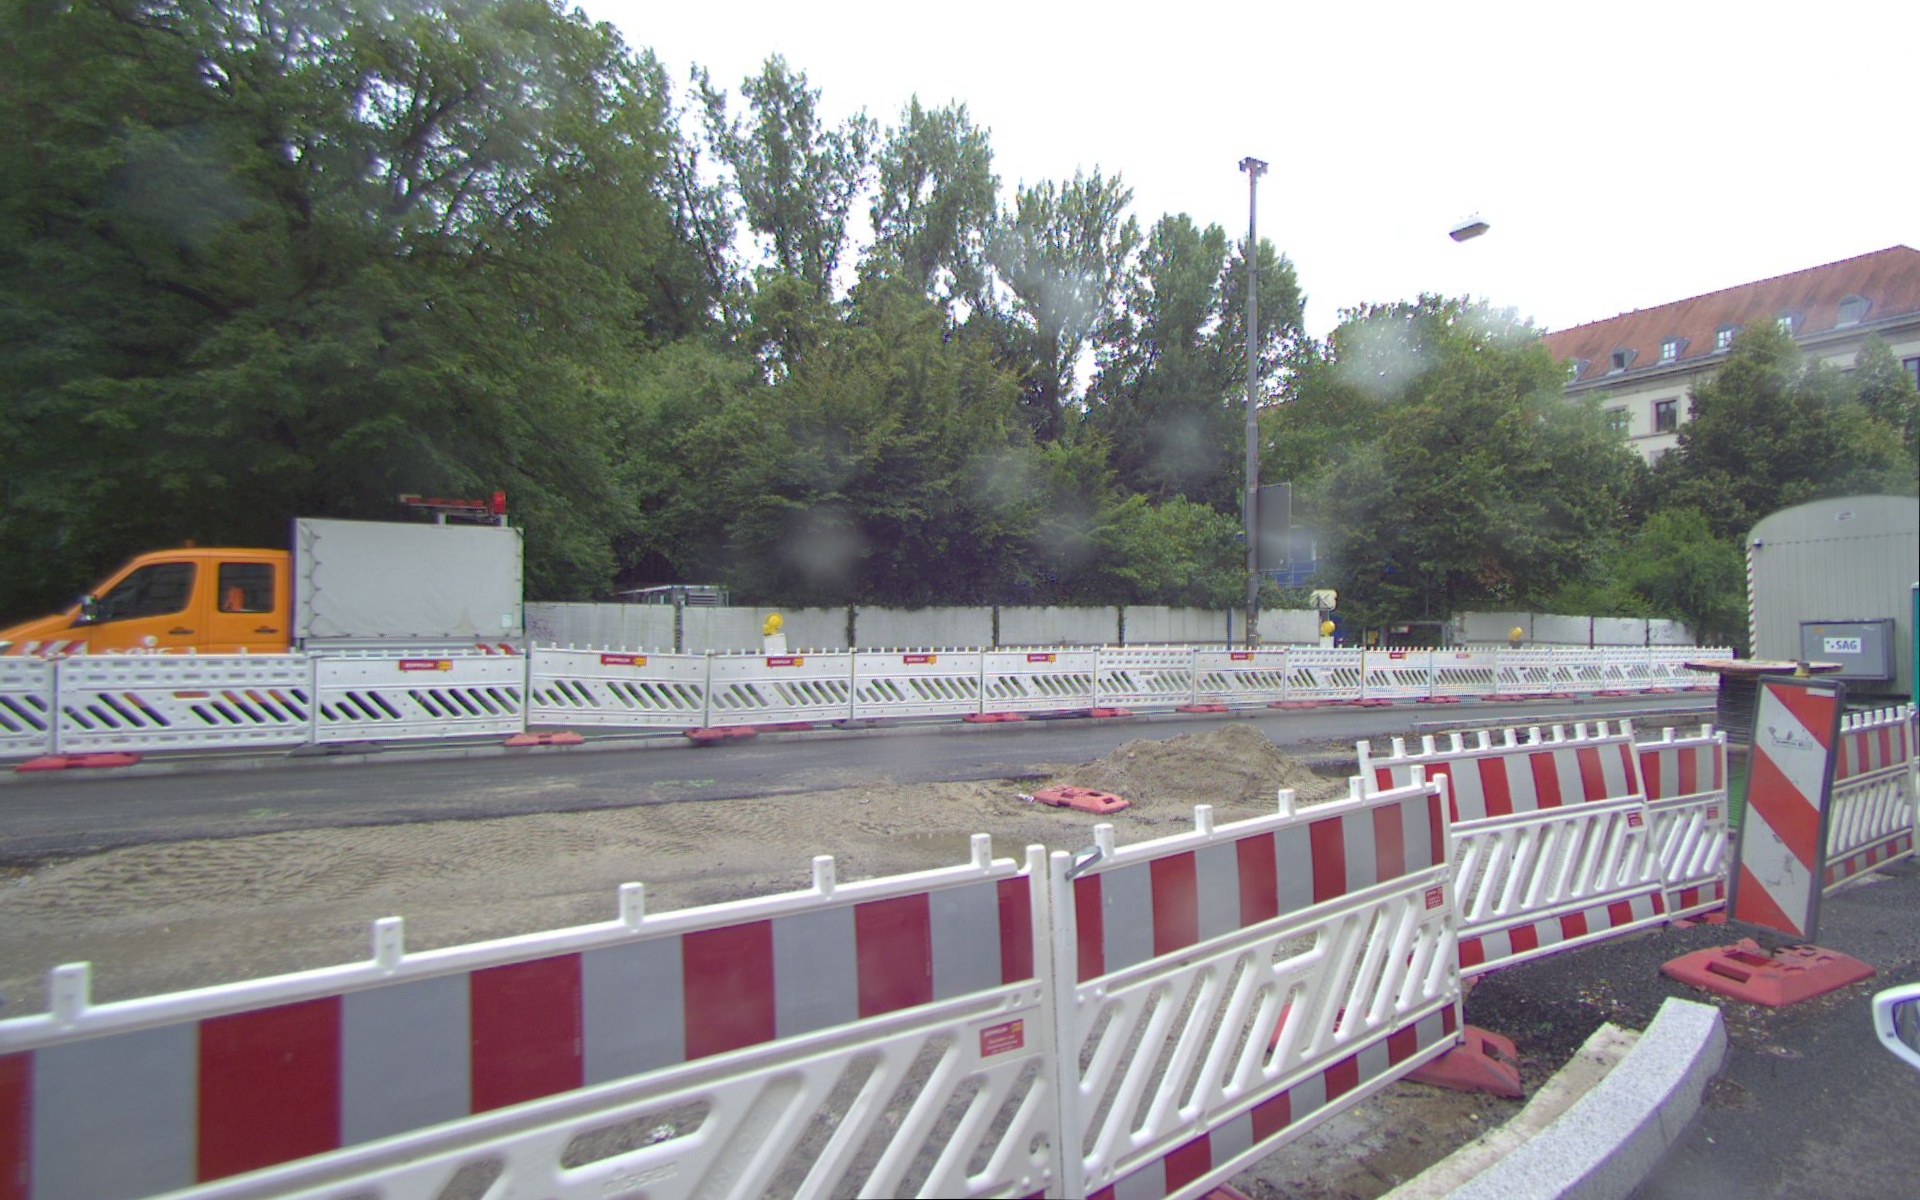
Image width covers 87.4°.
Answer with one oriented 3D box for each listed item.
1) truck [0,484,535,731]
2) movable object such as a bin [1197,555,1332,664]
[{"bbox_3d":[-9.319,0.160,13.957,6.132,2.887,2.115,1,-2,-28],"label":"truck"},{"bbox_3d":[12.018,0.428,39.609,5.009,4.014,2.453,1,-2,-32],"label":"movable object such as a bin"}]
